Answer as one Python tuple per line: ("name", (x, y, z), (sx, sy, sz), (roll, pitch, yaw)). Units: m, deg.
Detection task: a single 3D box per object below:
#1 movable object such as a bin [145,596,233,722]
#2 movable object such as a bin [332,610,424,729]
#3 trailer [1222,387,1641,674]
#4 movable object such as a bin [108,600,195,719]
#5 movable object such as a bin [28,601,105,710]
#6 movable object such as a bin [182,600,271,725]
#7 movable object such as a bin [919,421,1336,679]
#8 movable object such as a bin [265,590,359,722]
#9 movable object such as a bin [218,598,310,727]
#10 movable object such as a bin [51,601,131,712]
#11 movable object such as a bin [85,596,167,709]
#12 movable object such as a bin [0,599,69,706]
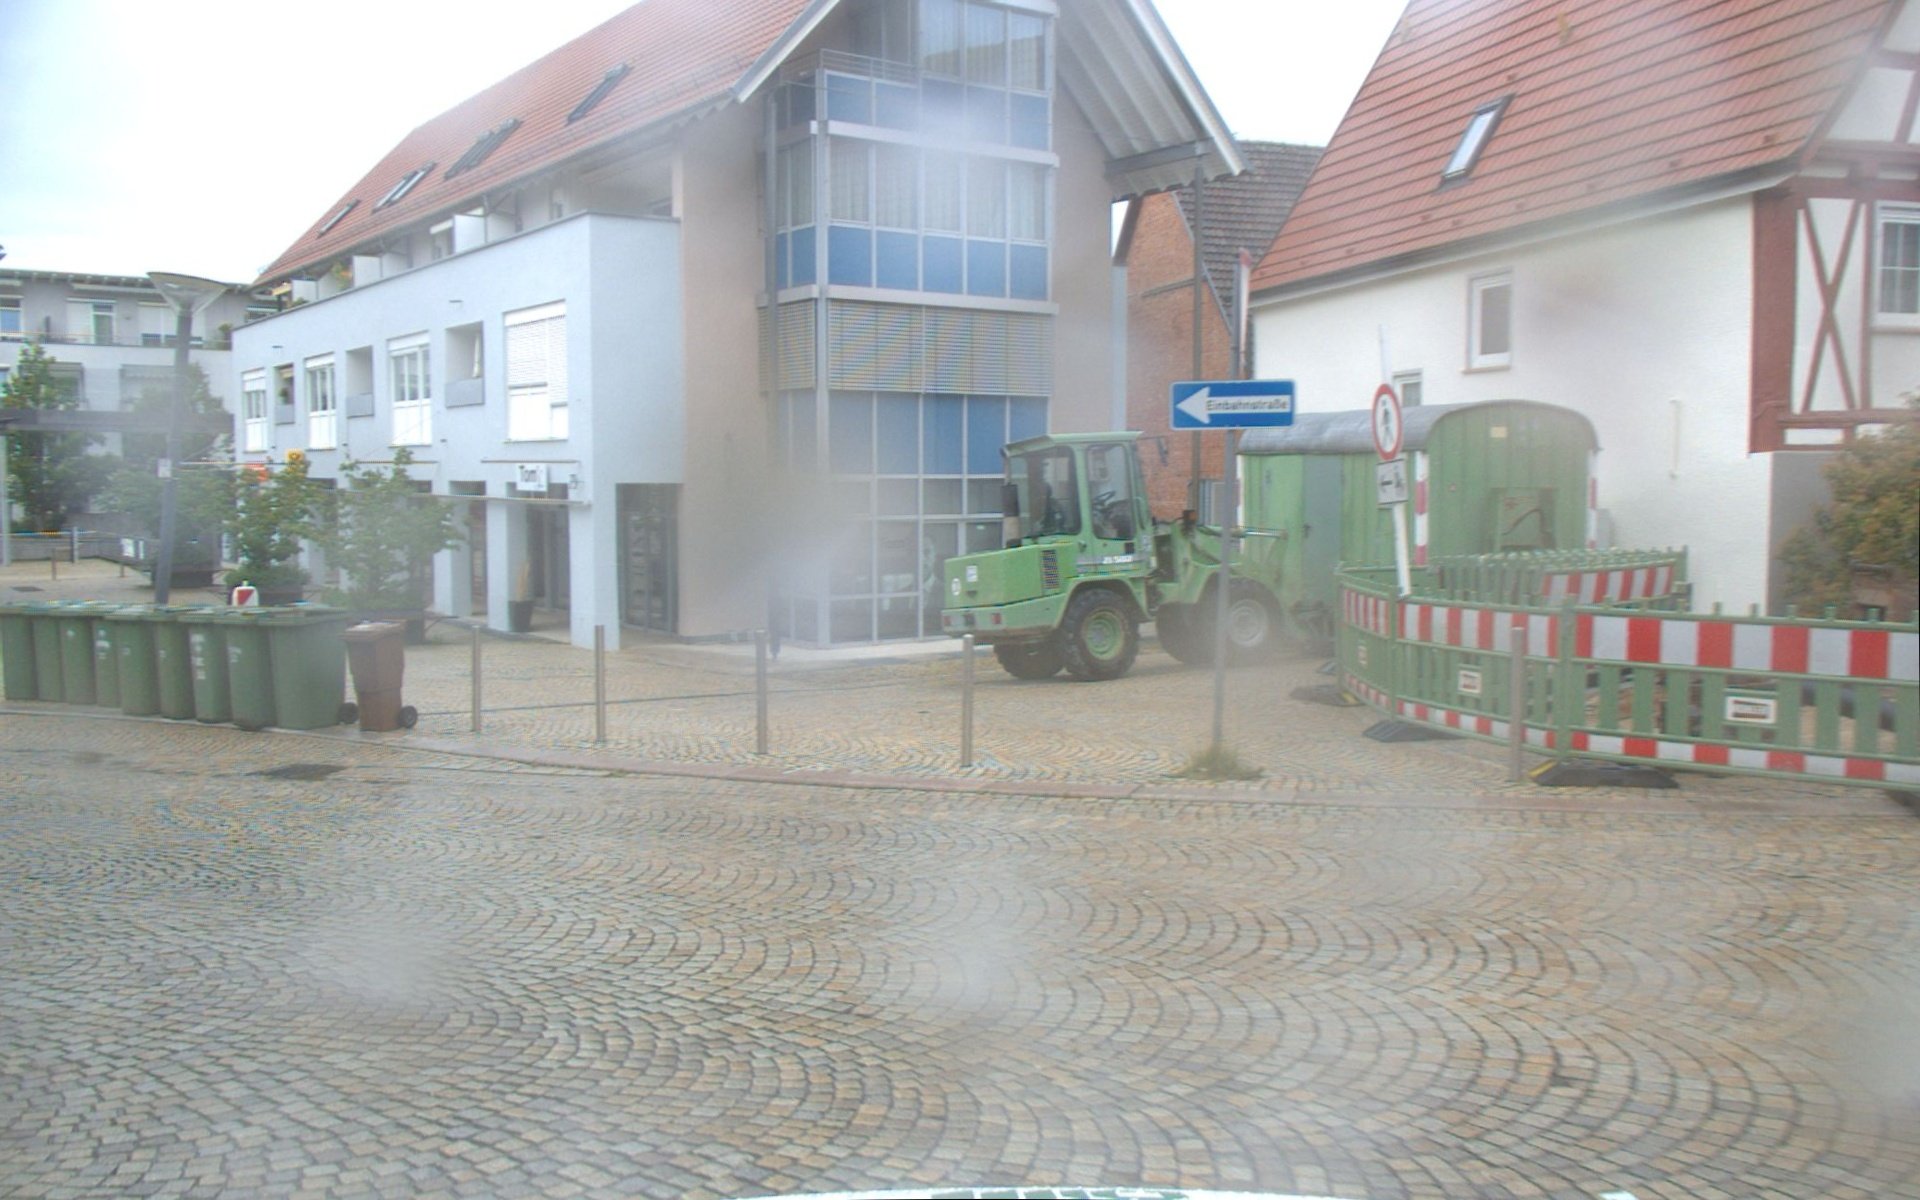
("movable object such as a bin", (-7.512, 0.563, 16.114), (0.540, 1.179, 0.559), (0, 2, 37))
("movable object such as a bin", (-5.154, 0.605, 14.664), (0.487, 1.008, 0.561), (0, 2, 28))
("trailer", (5.255, -0.849, 19.272), (2.446, 2.885, 4.610), (1, 4, -18))
("movable object such as a bin", (-8.076, 0.582, 16.523), (0.540, 1.145, 0.559), (0, 2, 37))
("movable object such as a bin", (-9.787, 0.592, 18.119), (0.529, 1.145, 0.536), (0, 2, 37))
("movable object such as a bin", (-6.985, 0.582, 15.752), (0.531, 1.145, 0.559), (0, 2, 37))
("movable object such as a bin", (1.859, -0.578, 18.384), (4.219, 2.598, 1.899), (-2, 2, -23))
("movable object such as a bin", (-5.894, 0.494, 15.050), (0.540, 1.145, 0.559), (0, 2, 37))
("movable object such as a bin", (-6.439, 0.565, 15.302), (0.540, 1.145, 0.559), (0, 2, 37))
("movable object such as a bin", (-9.330, 0.593, 17.762), (0.540, 1.145, 0.559), (0, 2, 37))
("movable object such as a bin", (-8.827, 0.546, 17.502), (0.540, 1.145, 0.559), (0, 2, 37))
("movable object such as a bin", (-10.354, 0.578, 18.403), (0.527, 1.145, 0.538), (-1, 2, 26))
